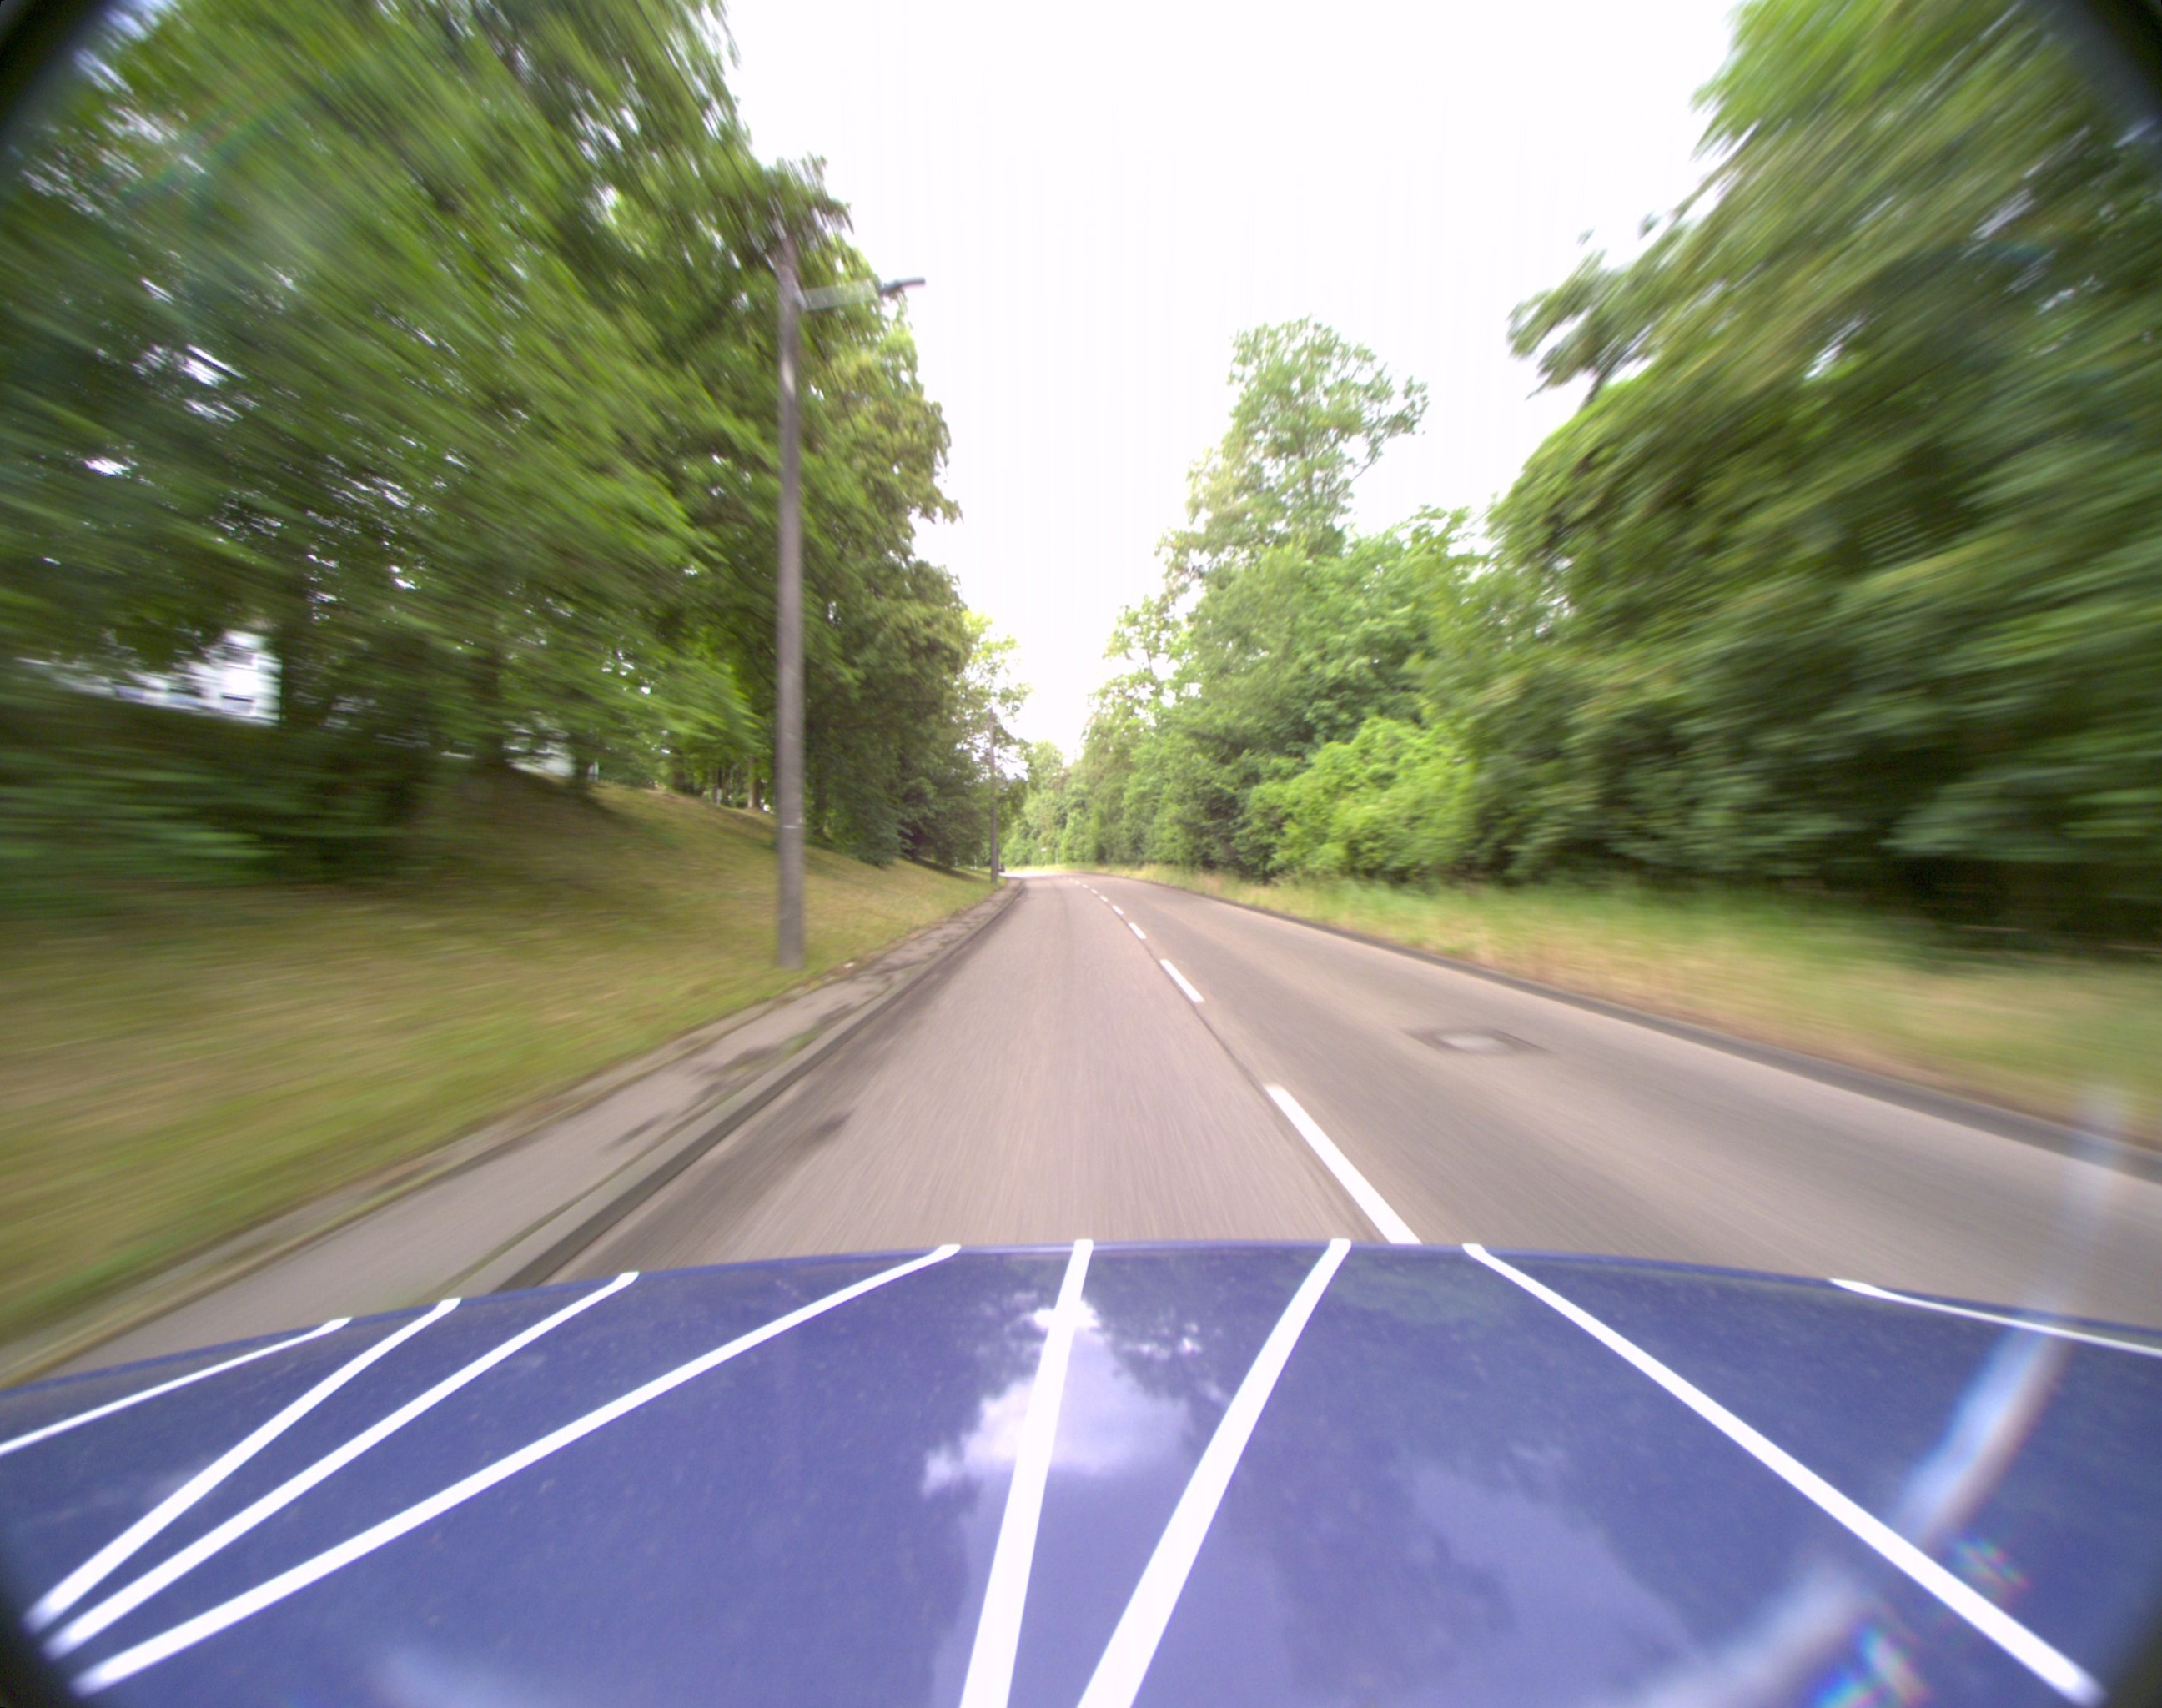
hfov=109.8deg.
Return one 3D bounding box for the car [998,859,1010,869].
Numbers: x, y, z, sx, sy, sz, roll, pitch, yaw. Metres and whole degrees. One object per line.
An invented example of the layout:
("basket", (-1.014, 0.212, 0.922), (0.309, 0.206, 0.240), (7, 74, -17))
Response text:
("car", (-11.978, 1.588, 118.458), (1.668, 1.485, 3.313), (-2, -2, -7))
